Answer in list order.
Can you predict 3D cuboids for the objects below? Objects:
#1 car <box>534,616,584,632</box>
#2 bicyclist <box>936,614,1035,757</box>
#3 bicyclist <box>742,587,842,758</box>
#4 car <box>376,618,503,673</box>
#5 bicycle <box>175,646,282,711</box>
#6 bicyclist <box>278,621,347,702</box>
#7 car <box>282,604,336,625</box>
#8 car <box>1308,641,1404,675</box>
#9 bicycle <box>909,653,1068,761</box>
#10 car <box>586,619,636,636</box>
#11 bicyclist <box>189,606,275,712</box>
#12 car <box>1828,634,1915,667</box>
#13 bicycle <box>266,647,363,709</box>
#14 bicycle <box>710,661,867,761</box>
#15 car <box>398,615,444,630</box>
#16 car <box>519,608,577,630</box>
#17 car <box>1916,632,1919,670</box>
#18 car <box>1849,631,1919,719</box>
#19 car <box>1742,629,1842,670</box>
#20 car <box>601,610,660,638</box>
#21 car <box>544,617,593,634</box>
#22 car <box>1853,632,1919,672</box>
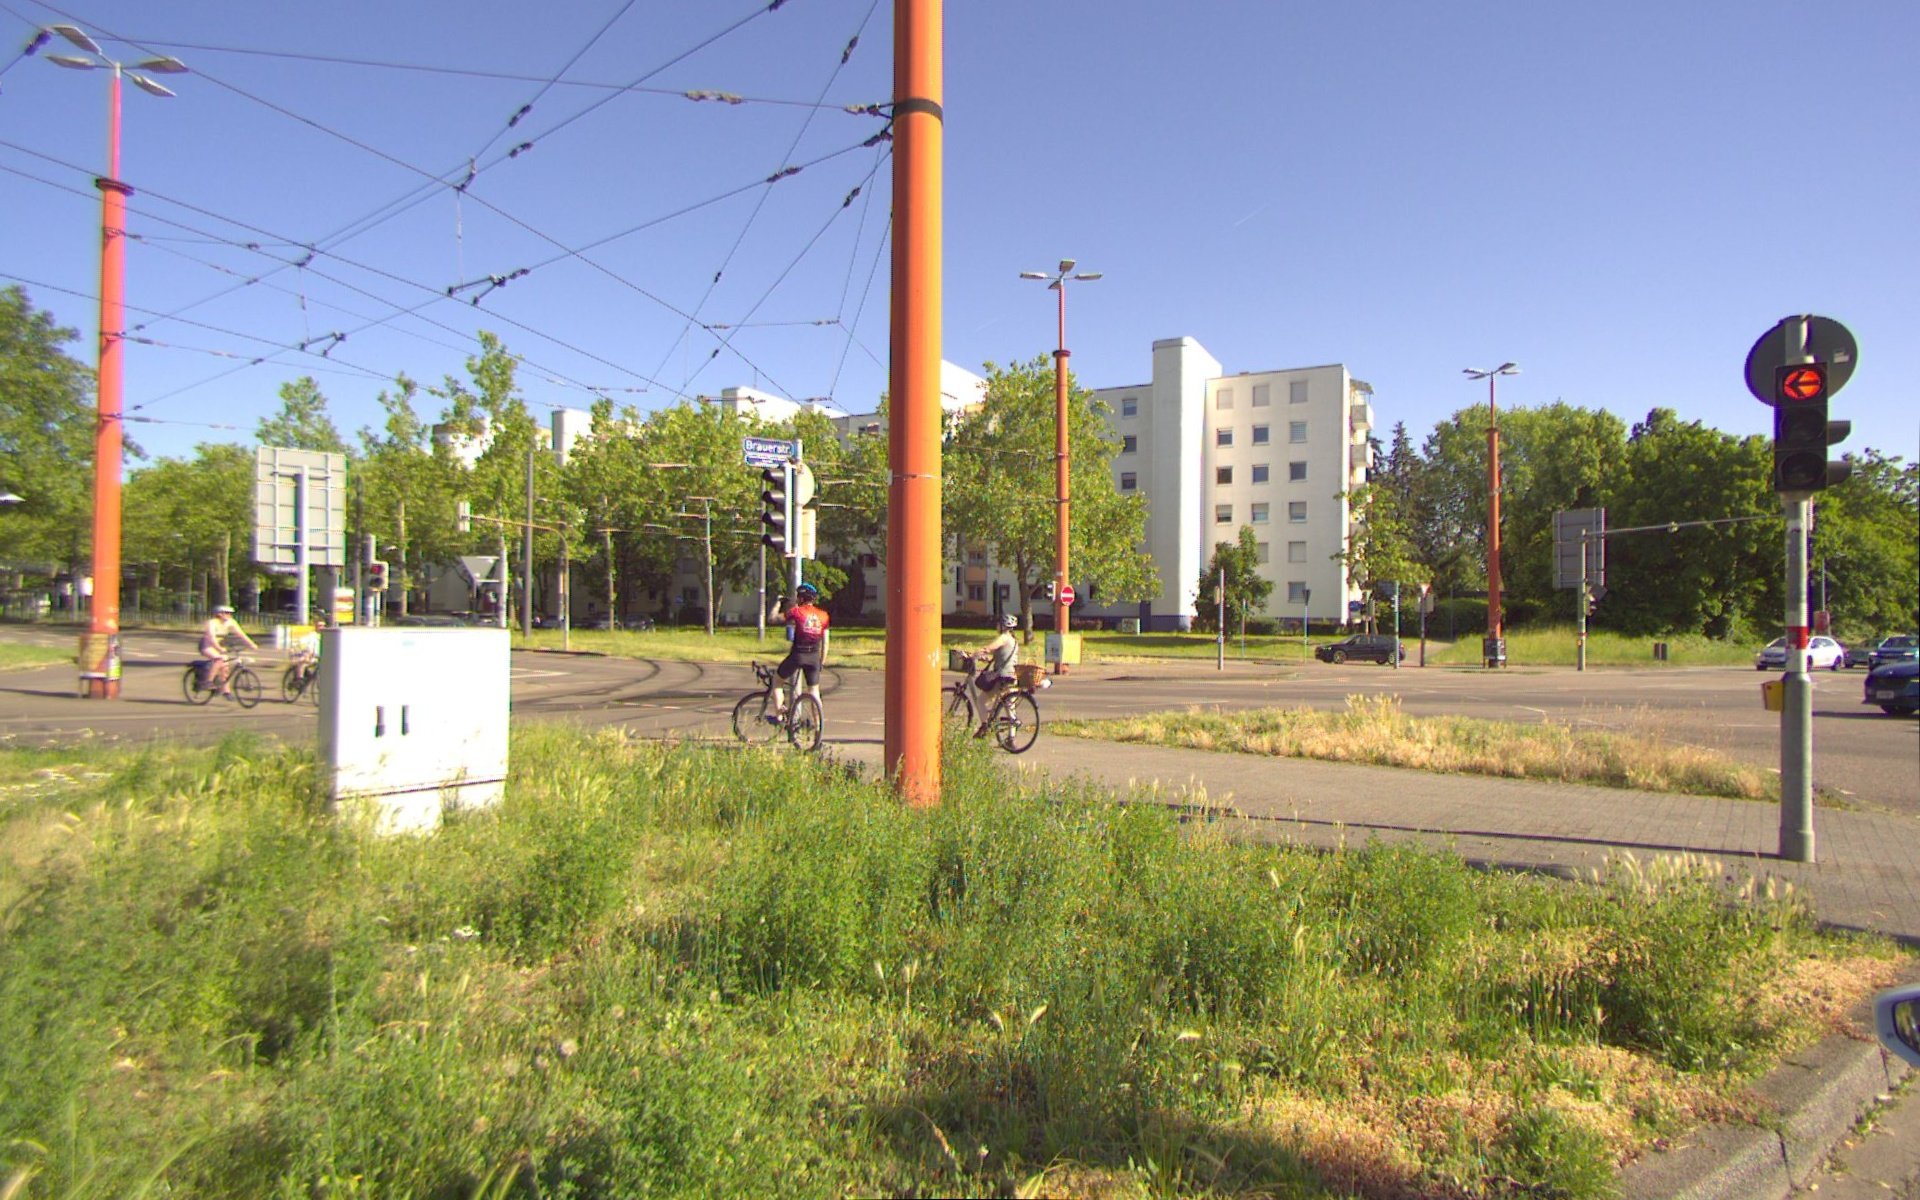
[{"bbox_3d":[-30.891,1.862,77.439,3.346,1.162,1.305,2,0,-13],"label":"car"},{"bbox_3d":[0.319,1.002,12.228,0.815,1.643,0.888,0,-1,41],"label":"bicyclist"},{"bbox_3d":[-2.005,0.842,11.964,0.974,1.938,0.685,-1,-2,33],"label":"bicyclist"},{"bbox_3d":[-16.543,1.389,31.899,3.977,1.516,1.913,2,0,34],"label":"car"},{"bbox_3d":[-13.637,1.439,18.735,1.877,1.086,0.580,2,0,17],"label":"bicycle"},{"bbox_3d":[-12.891,1.202,20.006,0.906,1.545,0.720,2,0,20],"label":"bicyclist"},{"bbox_3d":[-66.295,1.471,102.361,4.274,2.010,1.932,1,-1,-19],"label":"car"},{"bbox_3d":[18.530,2.723,47.135,3.870,1.522,1.840,0,-2,6],"label":"car"},{"bbox_3d":[0.319,1.251,12.186,1.887,1.146,0.737,0,-1,41],"label":"bicycle"},{"bbox_3d":[-25.826,2.000,74.315,3.279,1.149,1.321,2,0,-11],"label":"car"},{"bbox_3d":[-13.594,1.082,18.777,0.905,1.892,0.893,2,0,17],"label":"bicyclist"},{"bbox_3d":[43.141,2.380,47.530,3.952,1.533,1.877,1,-2,-29],"label":"car"},{"bbox_3d":[-12.853,1.535,19.998,1.878,1.086,0.580,2,0,19],"label":"bicycle"},{"bbox_3d":[-2.071,1.284,12.004,1.883,1.085,0.690,-2,-2,33],"label":"bicycle"},{"bbox_3d":[-46.620,1.931,86.957,3.370,1.204,1.439,2,0,-23],"label":"car"},{"bbox_3d":[-32.543,1.512,79.435,3.868,1.614,1.656,2,0,-8],"label":"car"},{"bbox_3d":[42.612,2.174,42.714,3.955,1.575,1.891,2,-2,-32],"label":"car"},{"bbox_3d":[17.797,1.273,17.021,3.830,1.439,1.580,0,-1,9],"label":"car"},{"bbox_3d":[35.371,2.116,42.685,4.168,1.673,1.869,2,-3,-29],"label":"car"},{"bbox_3d":[-23.662,1.707,72.298,3.874,1.841,1.651,2,0,-13],"label":"car"},{"bbox_3d":[-29.323,1.895,75.342,3.219,1.172,1.357,2,0,-12],"label":"car"},{"bbox_3d":[37.302,2.045,39.764,3.813,1.535,1.793,1,-3,-30],"label":"car"}]
